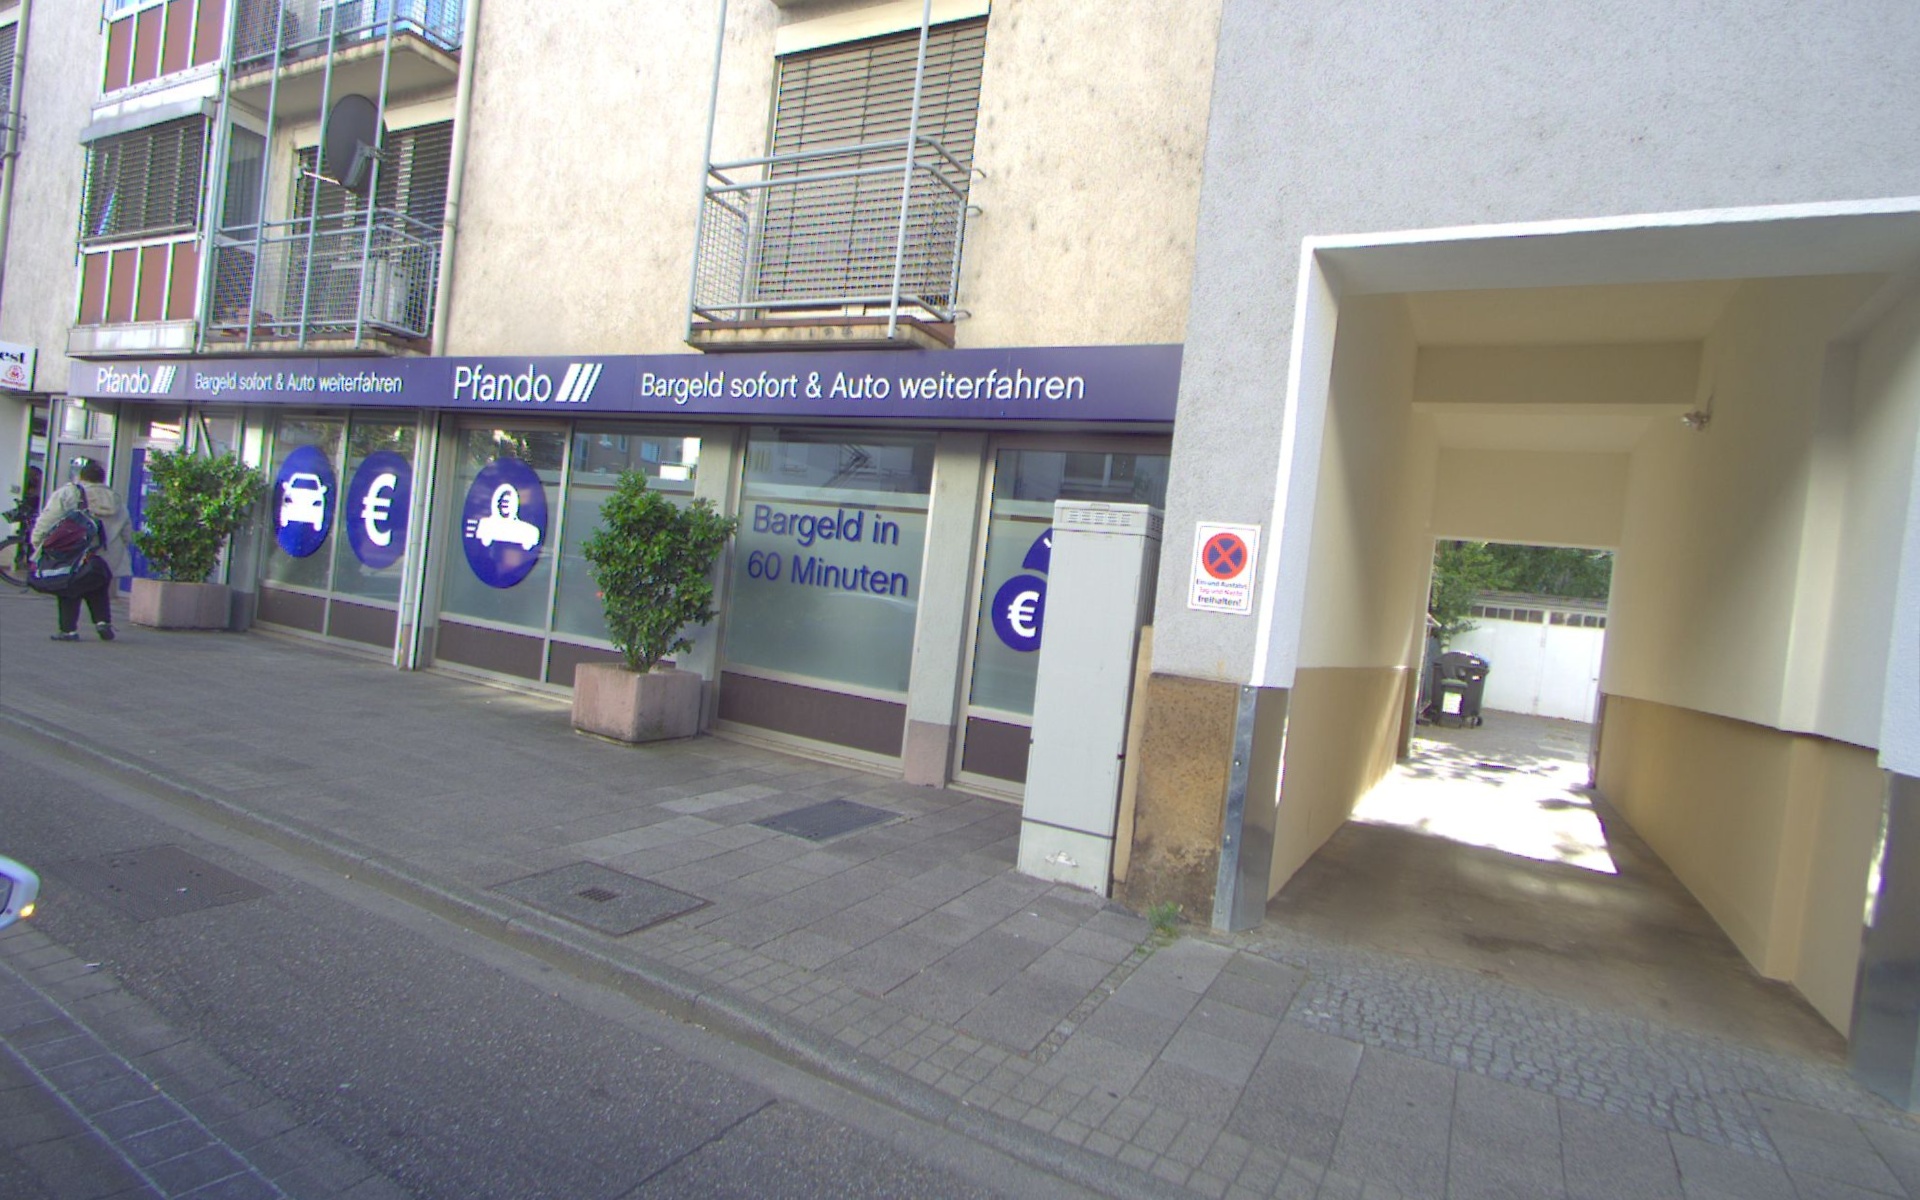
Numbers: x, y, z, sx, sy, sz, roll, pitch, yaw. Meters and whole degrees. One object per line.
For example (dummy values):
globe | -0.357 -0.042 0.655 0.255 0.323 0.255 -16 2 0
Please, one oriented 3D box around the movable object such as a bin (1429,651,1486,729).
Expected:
movable object such as a bin | 9.913 1.771 20.044 0.873 1.411 0.758 7 2 28

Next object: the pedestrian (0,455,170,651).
pedestrian | -7.866 -0.407 9.054 0.738 1.611 0.827 6 -1 31

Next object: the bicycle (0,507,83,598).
bicycle | -11.925 -0.629 12.843 1.678 1.010 0.543 6 -1 32

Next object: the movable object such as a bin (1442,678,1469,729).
movable object such as a bin | 9.608 1.999 19.501 0.365 0.920 0.420 7 2 28
